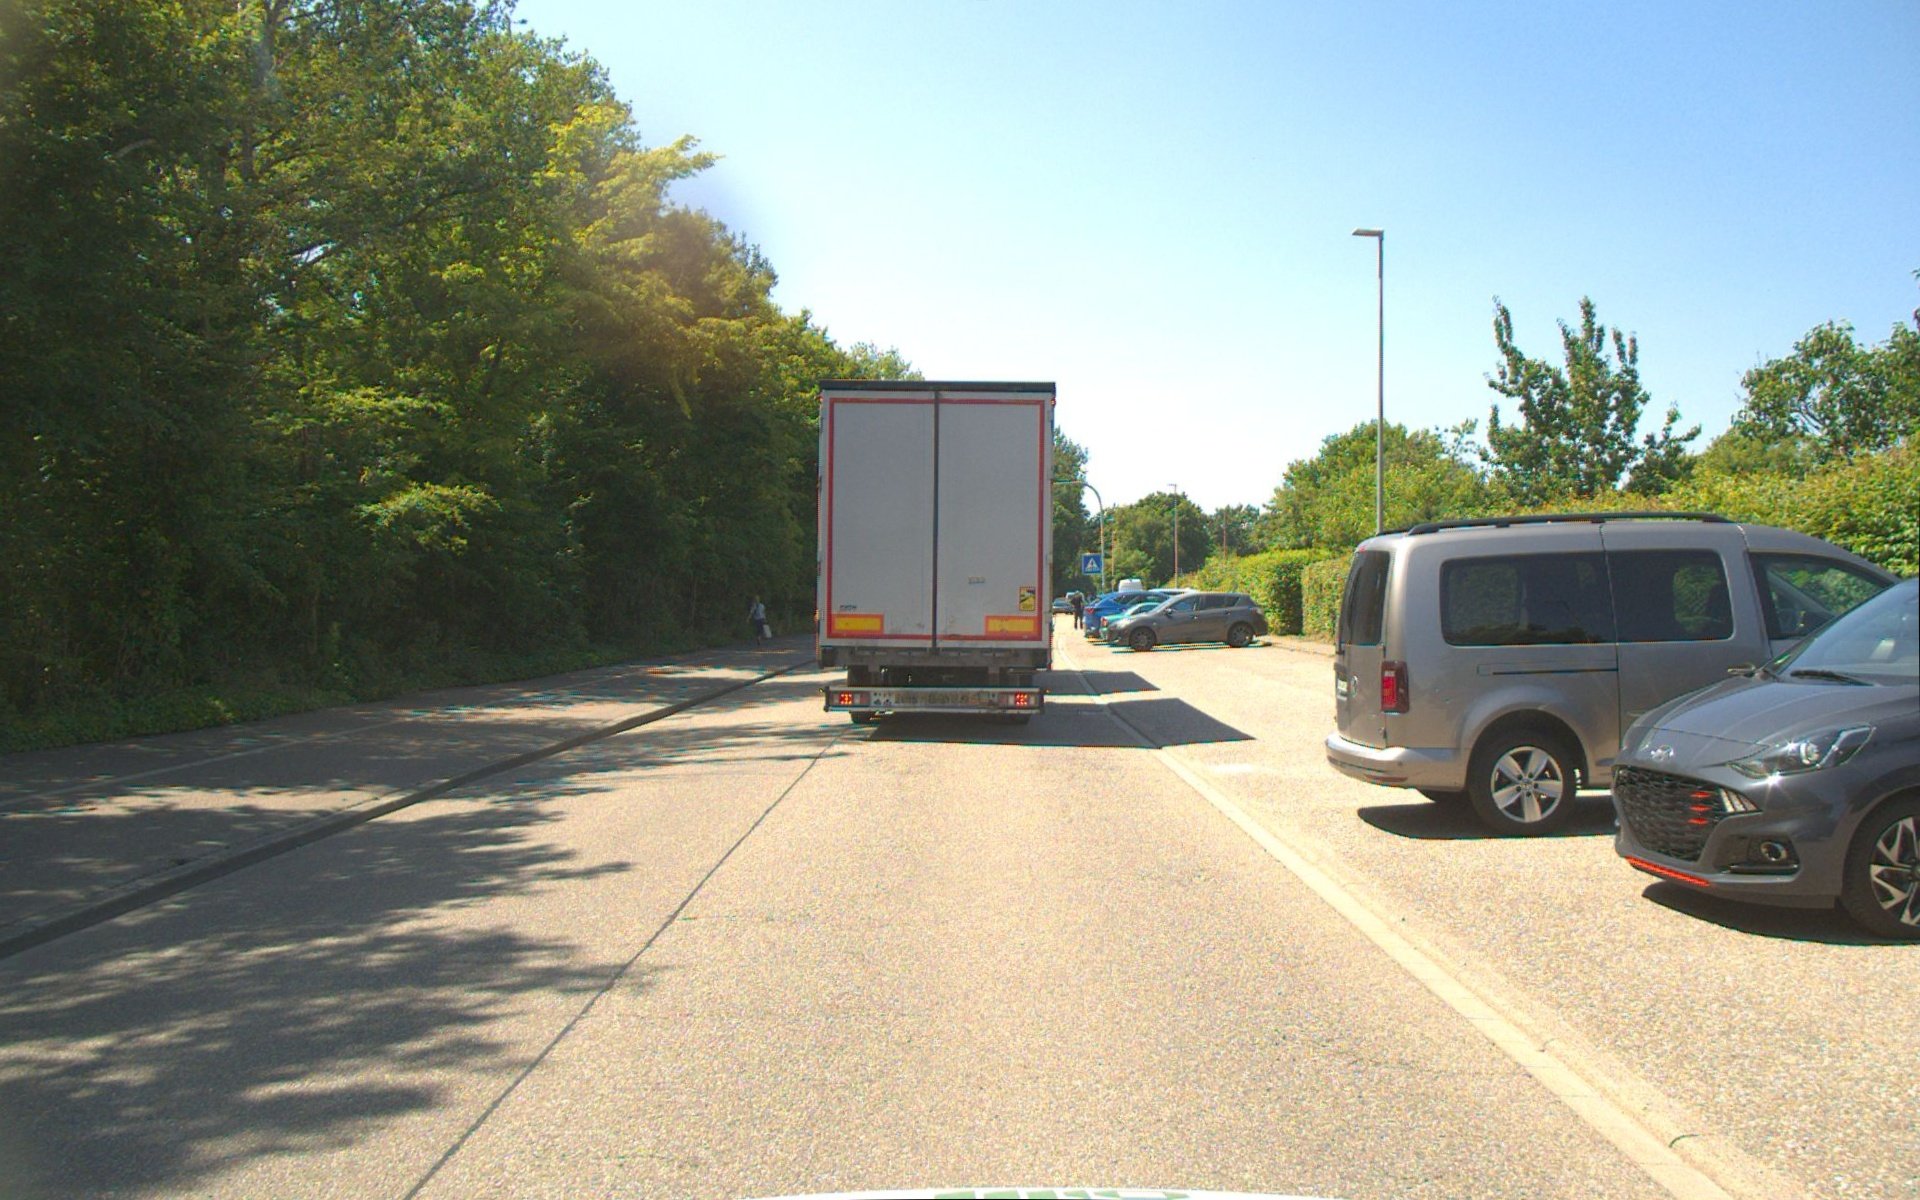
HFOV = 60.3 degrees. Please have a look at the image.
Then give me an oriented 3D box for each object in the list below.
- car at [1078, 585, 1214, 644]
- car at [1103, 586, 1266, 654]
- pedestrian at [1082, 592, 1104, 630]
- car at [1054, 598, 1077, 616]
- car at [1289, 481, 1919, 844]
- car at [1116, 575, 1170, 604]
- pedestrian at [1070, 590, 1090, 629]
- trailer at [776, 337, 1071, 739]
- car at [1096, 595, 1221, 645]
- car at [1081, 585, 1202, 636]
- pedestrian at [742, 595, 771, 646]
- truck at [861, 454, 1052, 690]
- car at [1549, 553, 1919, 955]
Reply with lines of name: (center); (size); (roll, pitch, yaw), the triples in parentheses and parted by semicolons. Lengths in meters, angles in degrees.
car: (5.950, 0.467, 53.217); (4.150, 1.662, 1.823); (-3, 0, 2)
car: (5.953, 0.539, 44.212); (4.078, 1.521, 1.883); (-3, -1, 2)
pedestrian: (6.493, 0.534, 80.536); (0.888, 1.829, 0.936); (-4, -1, 8)
car: (8.799, 0.556, 138.155); (1.744, 1.512, 4.001); (0, 0, 1)
car: (4.647, 0.315, 10.742); (4.527, 1.880, 1.996); (-5, 0, 0)
car: (13.723, -0.759, 123.858); (3.873, 1.829, 1.814); (-4, -3, 6)
pedestrian: (5.991, 0.481, 82.554); (0.804, 1.866, 0.793); (-4, -1, 8)
trailer: (-0.185, -0.660, 23.088); (3.048, 4.174, 11.539); (-1, 0, 2)
car: (6.020, 0.609, 50.452); (3.657, 1.290, 1.628); (-3, -1, 4)
car: (6.472, 0.406, 59.265); (4.148, 1.683, 1.900); (-1, -2, 1)
pedestrian: (-6.661, 0.660, 54.148); (0.811, 1.651, 0.783); (1, 0, 1)
truck: (0.019, -0.456, 29.946); (3.049, 3.790, 6.414); (-1, 0, 1)
car: (4.828, 0.533, 7.595); (3.506, 1.528, 1.840); (-3, 0, -6)
